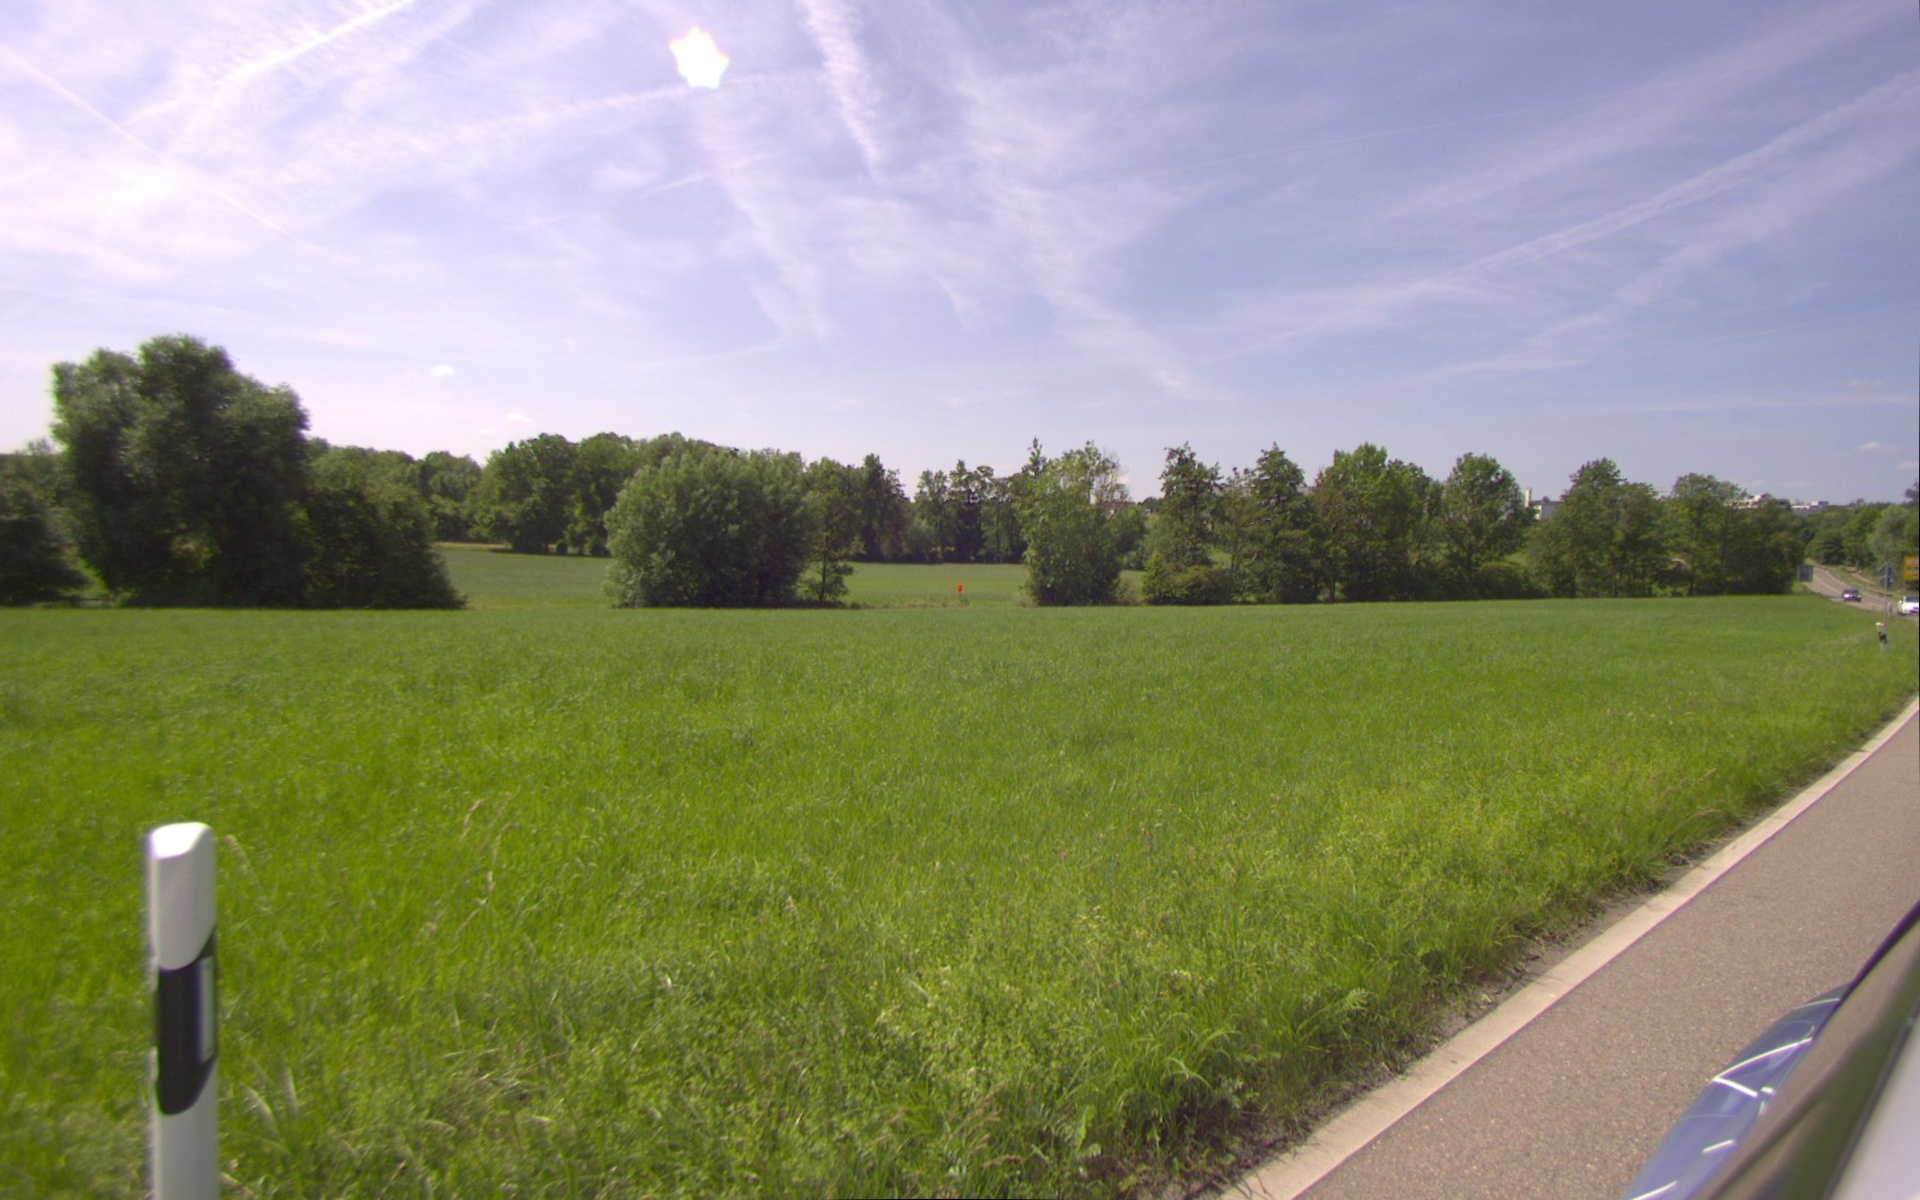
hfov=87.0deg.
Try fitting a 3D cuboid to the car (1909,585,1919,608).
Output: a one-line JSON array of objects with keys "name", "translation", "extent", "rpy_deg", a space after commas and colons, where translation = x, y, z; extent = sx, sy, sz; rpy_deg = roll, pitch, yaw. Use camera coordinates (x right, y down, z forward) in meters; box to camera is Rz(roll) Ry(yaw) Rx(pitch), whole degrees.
[{"name": "car", "translation": [68.886, -0.261, 71.930], "extent": [1.993, 1.605, 3.938], "rpy_deg": [1, 1, 43]}]

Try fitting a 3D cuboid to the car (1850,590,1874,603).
[{"name": "car", "translation": [109.558, -0.421, 122.944], "extent": [1.991, 1.605, 3.941], "rpy_deg": [1, 1, 41]}]
